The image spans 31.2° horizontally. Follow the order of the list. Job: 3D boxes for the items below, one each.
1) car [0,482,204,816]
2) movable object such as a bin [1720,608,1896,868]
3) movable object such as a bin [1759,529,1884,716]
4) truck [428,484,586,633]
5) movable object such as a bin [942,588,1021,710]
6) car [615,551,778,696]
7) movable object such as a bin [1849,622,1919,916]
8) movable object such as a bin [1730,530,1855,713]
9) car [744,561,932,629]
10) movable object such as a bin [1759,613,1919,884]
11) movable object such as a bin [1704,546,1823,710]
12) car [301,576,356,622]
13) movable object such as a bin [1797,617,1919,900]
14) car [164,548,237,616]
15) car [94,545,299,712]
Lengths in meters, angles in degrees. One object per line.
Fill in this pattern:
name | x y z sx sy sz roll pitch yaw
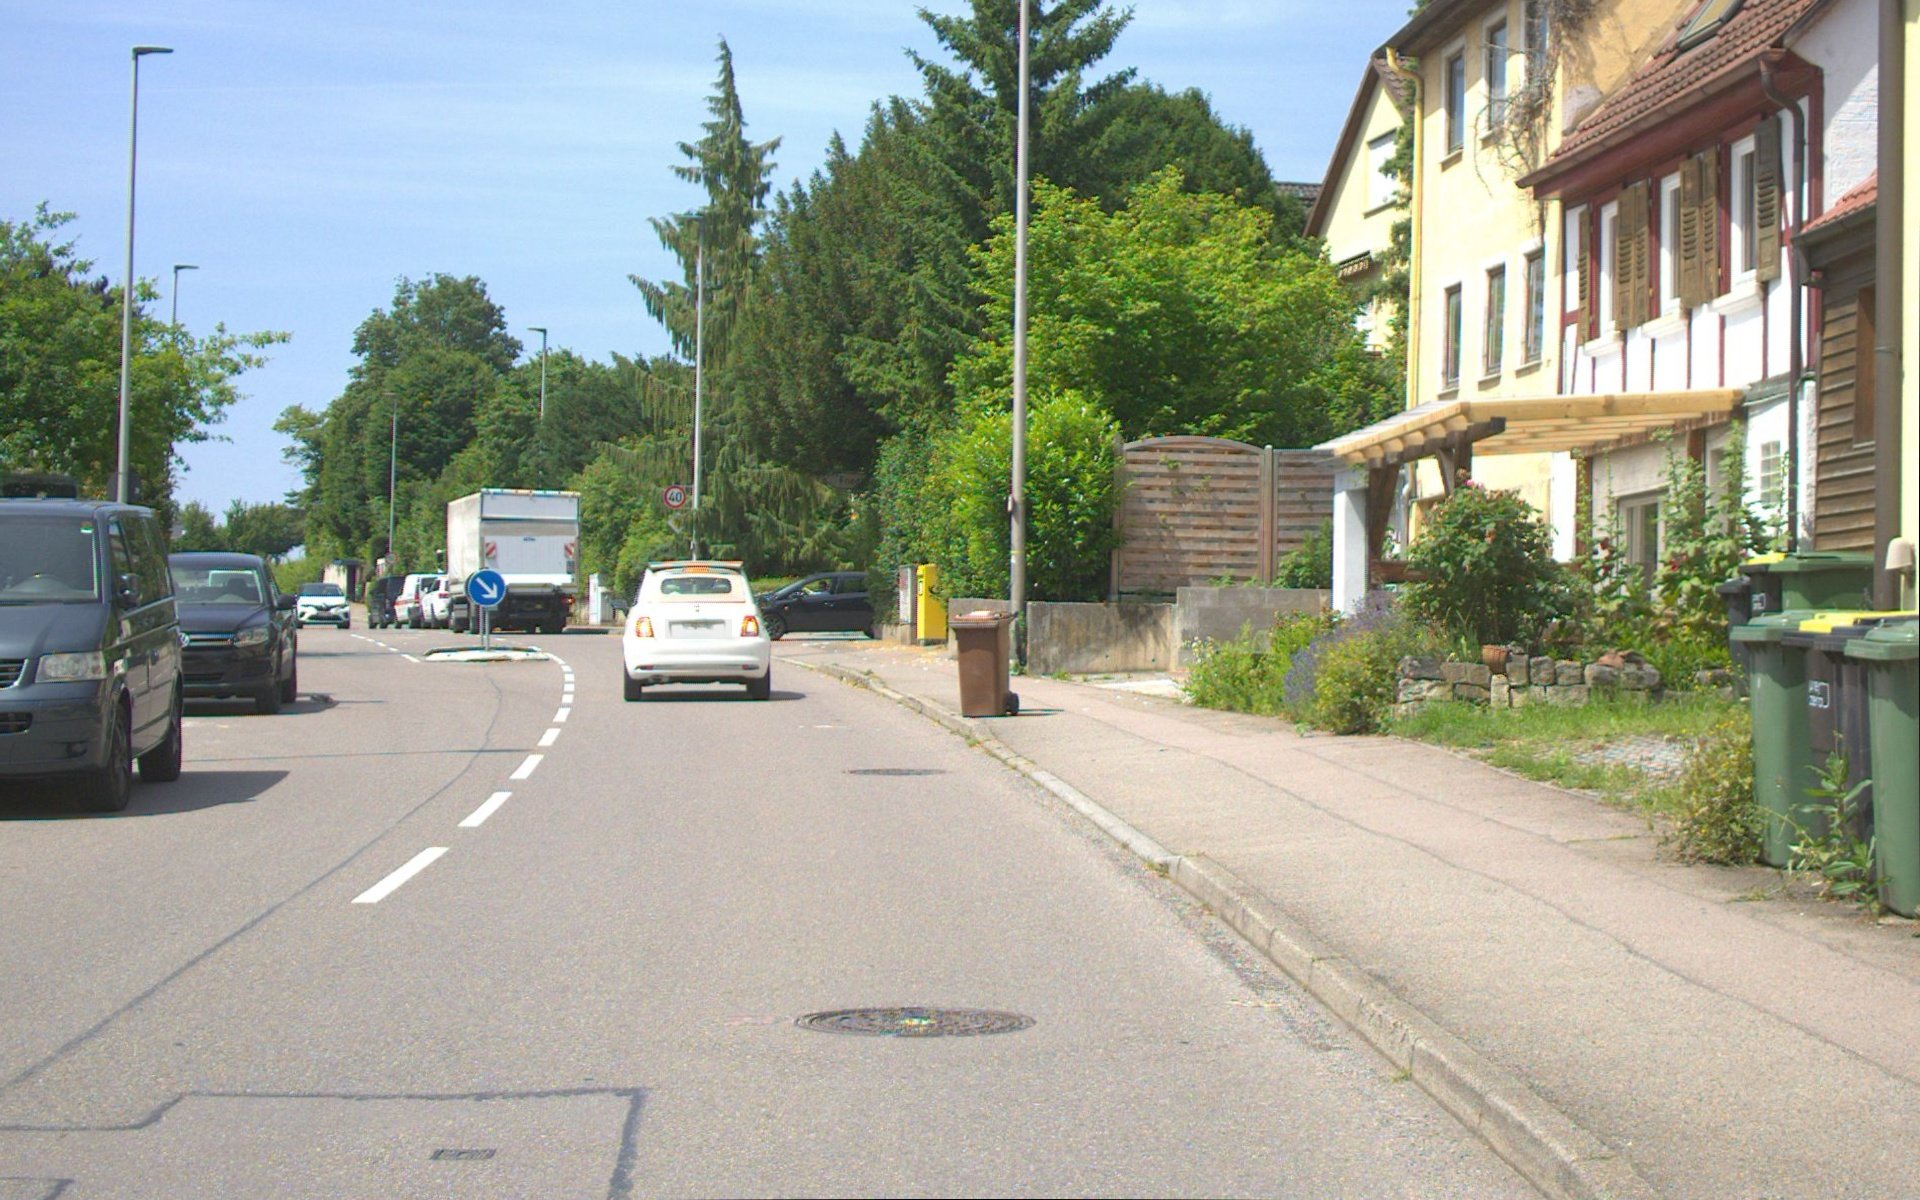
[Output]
car | -6.196 0.276 22.420 1.890 1.931 4.987 -1 0 -6
movable object such as a bin | 3.534 0.566 14.352 0.546 1.030 0.551 -2 1 -2
movable object such as a bin | 5.595 0.143 22.342 0.534 1.153 0.511 -6 1 -7
truck | -12.060 -1.042 90.958 3.067 3.761 7.870 0 0 -16
movable object such as a bin | 0.193 0.433 30.400 0.494 1.030 0.548 -3 1 18
car | -3.028 0.243 38.939 1.724 1.555 4.001 0 0 -6
movable object such as a bin | 3.626 0.603 12.591 0.546 1.030 0.551 -2 1 -2
movable object such as a bin | 5.551 0.142 22.929 0.534 1.153 0.549 -6 1 -8
car | -2.675 -0.107 75.006 3.932 1.453 1.659 0 0 -10
movable object such as a bin | 3.563 0.584 13.757 0.546 1.030 0.551 -2 1 -2
movable object such as a bin | 5.497 0.186 23.535 0.534 1.053 0.549 -6 1 -8
car | -21.568 -0.022 117.359 1.782 1.524 4.172 -1 0 -11
movable object such as a bin | 3.574 0.595 13.178 0.546 1.030 0.551 -2 1 -2
car | -25.099 -0.593 113.466 2.036 2.192 5.584 0 0 -16
car | -7.931 0.249 36.004 1.768 1.630 4.288 0 1 -8
